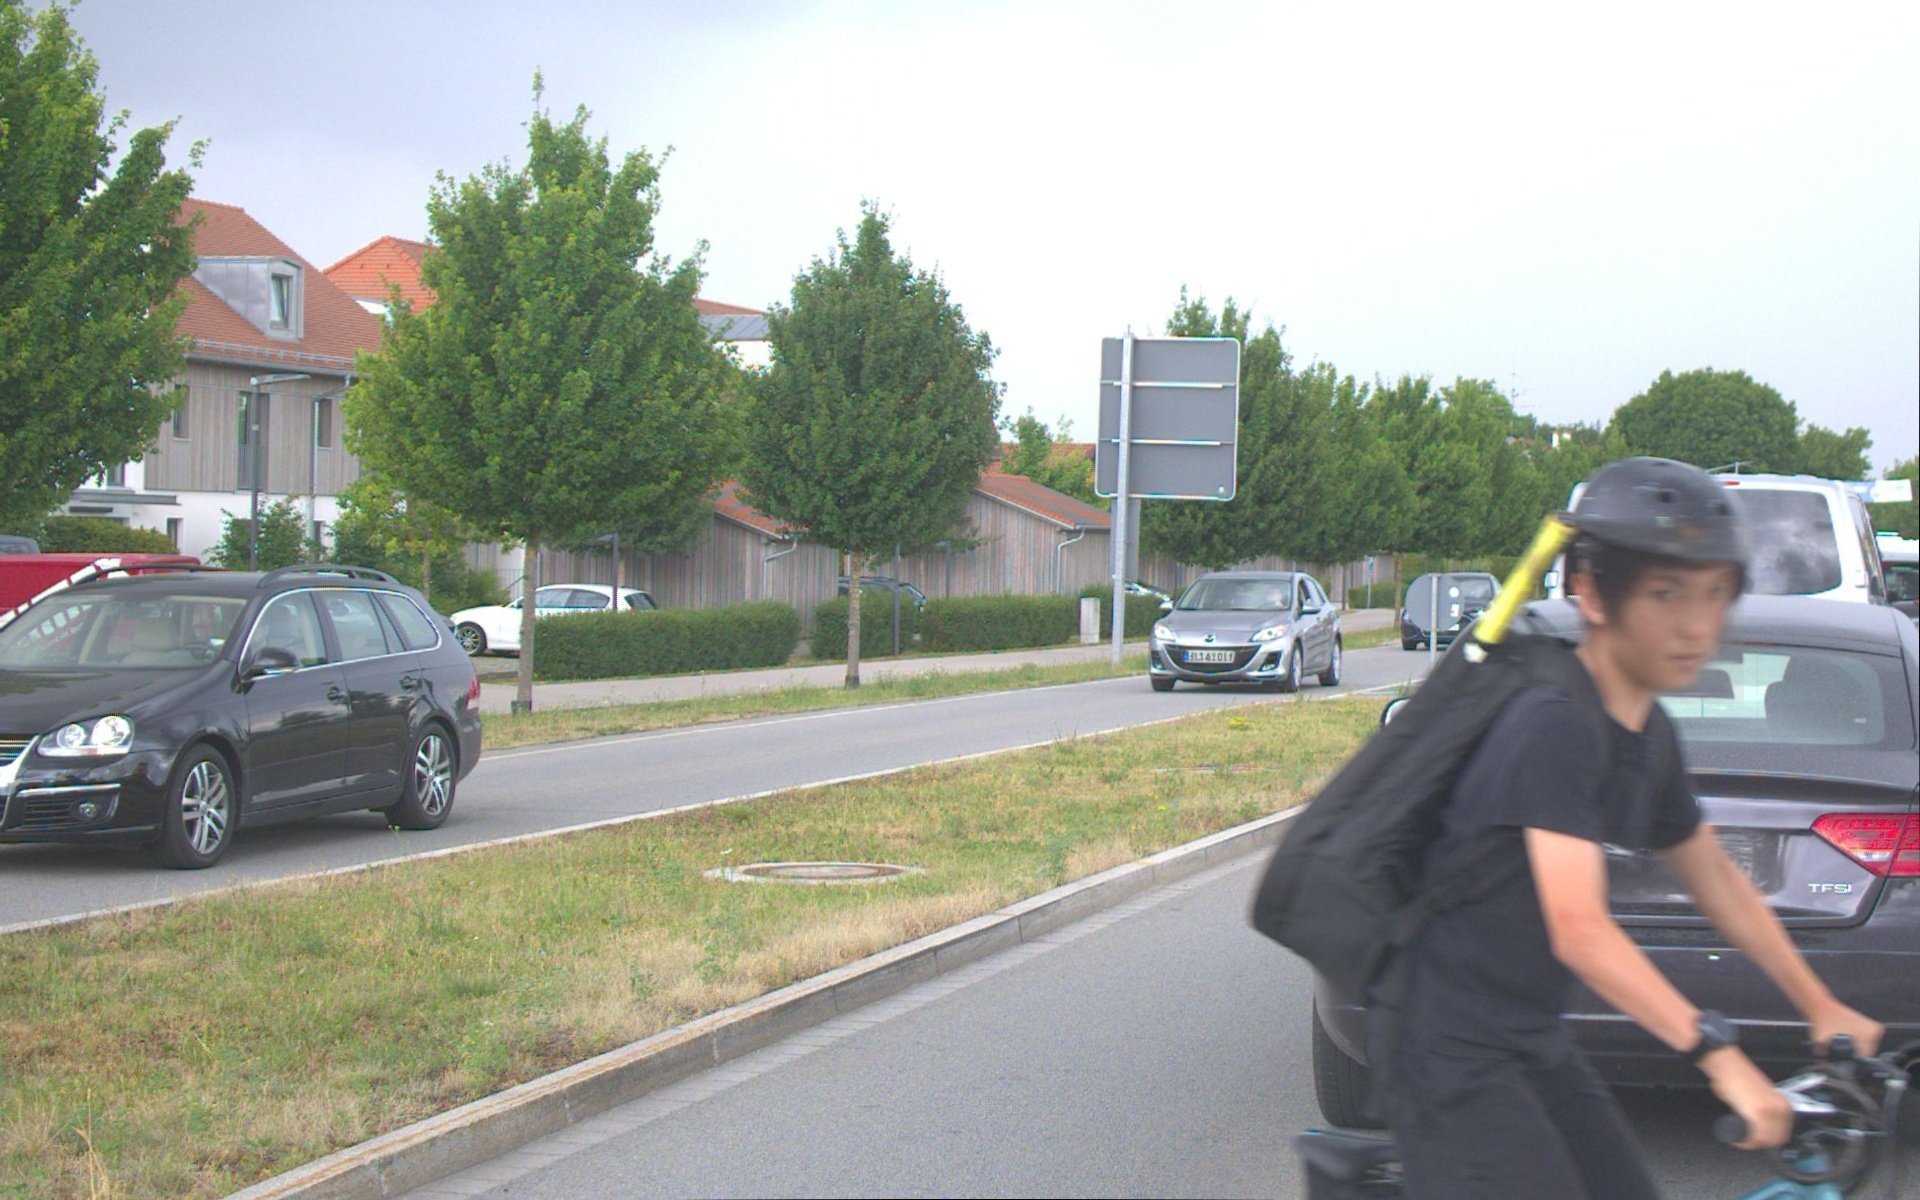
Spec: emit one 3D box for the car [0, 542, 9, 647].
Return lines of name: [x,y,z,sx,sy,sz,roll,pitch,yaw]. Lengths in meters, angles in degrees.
car: [-17.754,-0.127,56.155,1.996,1.766,4.460,2,0,21]

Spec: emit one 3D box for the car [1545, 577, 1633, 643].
car: [15.957,0.228,87.097,1.868,1.568,3.997,2,1,14]

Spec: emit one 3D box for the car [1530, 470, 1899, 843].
car: [4.490,0.272,20.278,1.868,1.927,3.997,2,1,14]

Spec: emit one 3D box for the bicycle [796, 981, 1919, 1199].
bicycle: [0.682,0.989,4.022,1.710,0.943,0.497,0,0,24]

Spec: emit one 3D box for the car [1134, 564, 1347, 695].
car: [3.484,0.319,42.013,1.731,1.405,4.202,3,2,16]

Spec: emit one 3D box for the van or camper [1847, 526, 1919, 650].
van or camper: [26.336,-0.295,96.391,2.627,3.312,6.816,2,0,15]

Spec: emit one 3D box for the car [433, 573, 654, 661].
car: [-7.786,0.300,64.390,3.731,1.477,1.685,2,1,13]

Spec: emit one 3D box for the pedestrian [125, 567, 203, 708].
pedestrian: [-8.941,0.412,38.617,0.582,1.553,0.659,2,1,14]

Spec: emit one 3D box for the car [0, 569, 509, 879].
car: [-4.039,0.557,18.024,1.754,1.411,4.452,0,0,15]

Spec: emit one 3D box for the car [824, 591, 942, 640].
car: [-1.741,0.347,78.298,2.473,1.025,1.185,2,1,11]

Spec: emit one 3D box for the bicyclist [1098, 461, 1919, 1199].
bicyclist: [0.697,0.572,3.993,0.867,1.441,0.724,1,1,24]

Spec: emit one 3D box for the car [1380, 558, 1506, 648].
car: [9.113,0.037,64.615,1.868,1.568,3.997,2,1,14]

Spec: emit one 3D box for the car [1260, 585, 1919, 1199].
car: [2.073,0.686,9.733,1.785,1.387,4.130,2,1,14]

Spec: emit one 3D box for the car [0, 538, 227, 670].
car: [-12.536,0.014,46.973,4.535,1.674,1.998,2,1,19]

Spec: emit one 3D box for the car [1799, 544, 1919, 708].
car: [9.930,0.252,36.452,1.778,1.612,3.997,2,1,16]
